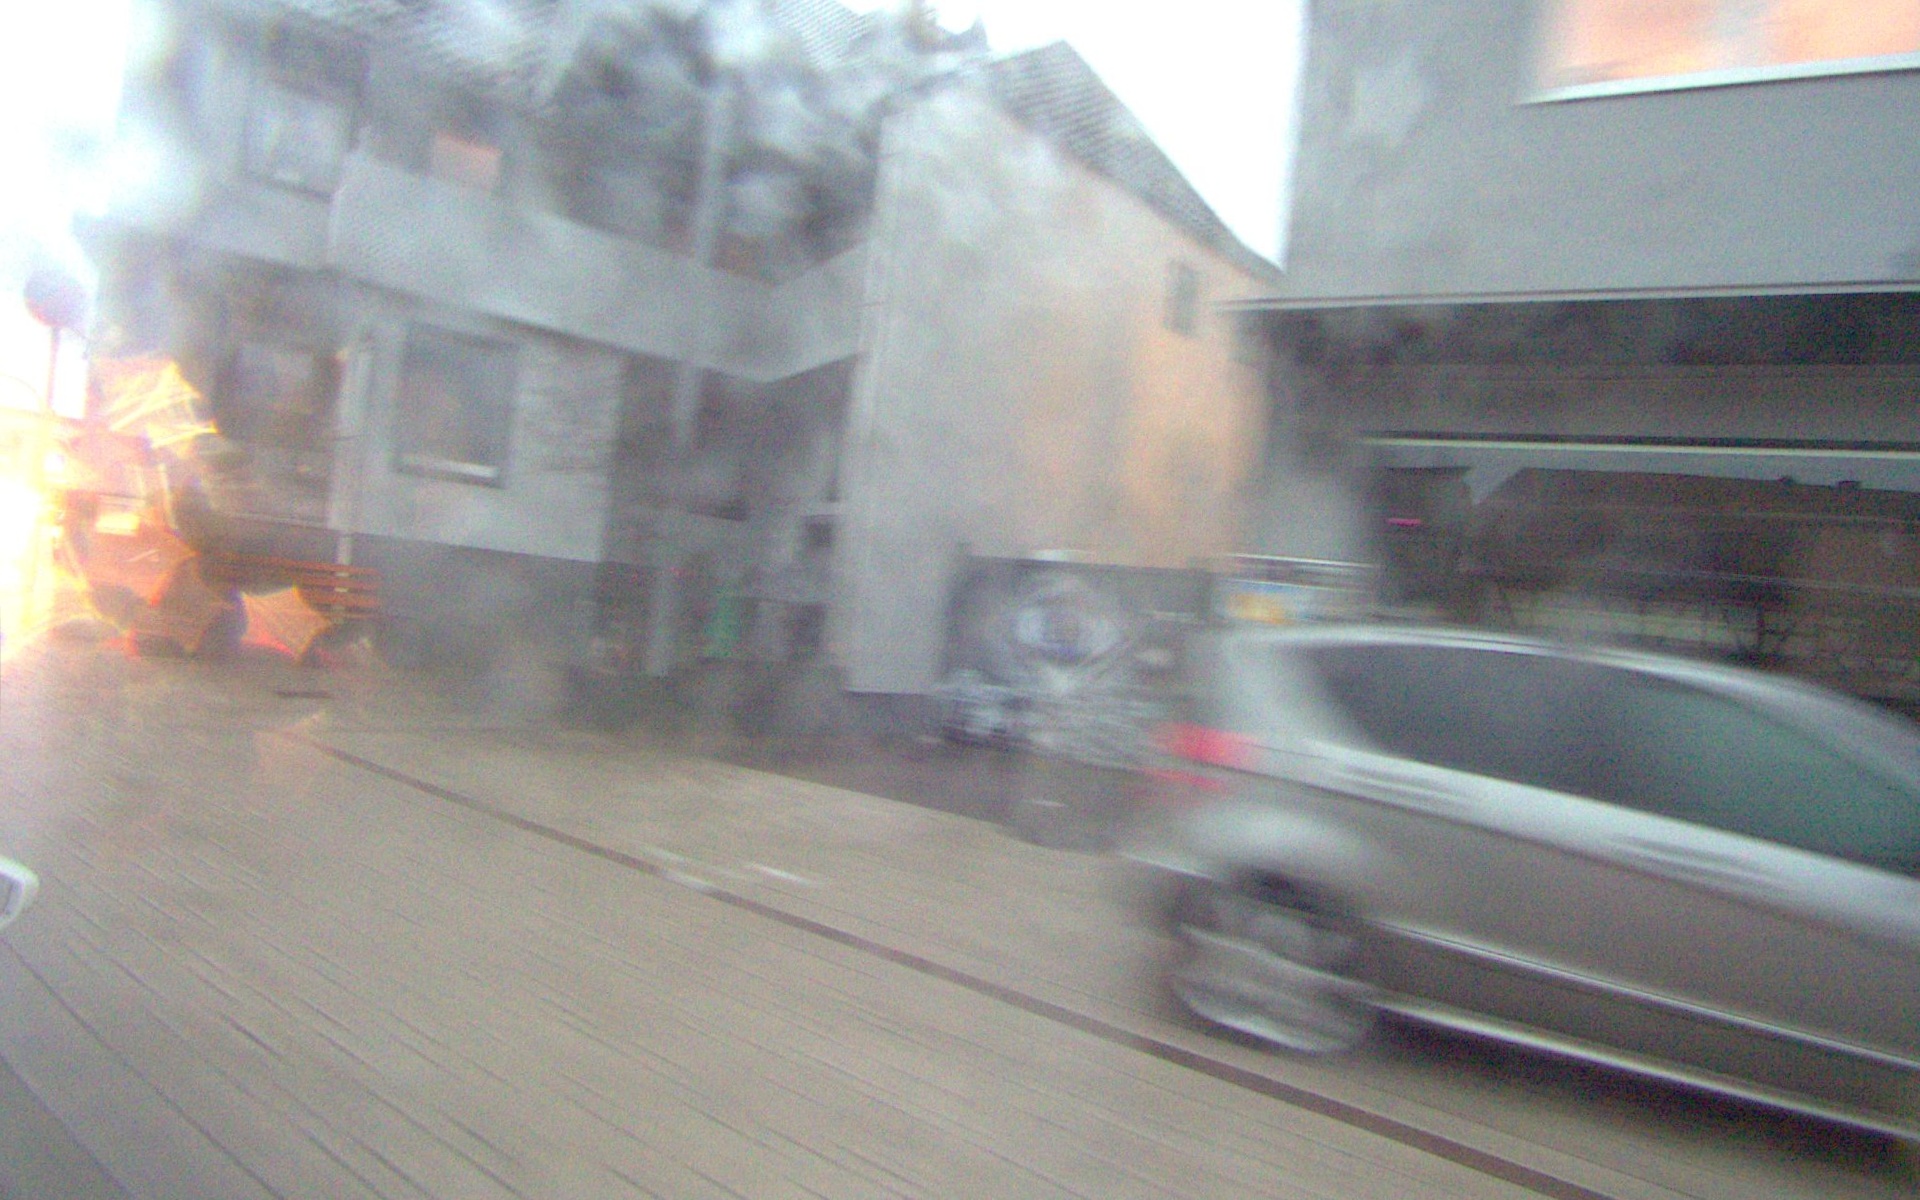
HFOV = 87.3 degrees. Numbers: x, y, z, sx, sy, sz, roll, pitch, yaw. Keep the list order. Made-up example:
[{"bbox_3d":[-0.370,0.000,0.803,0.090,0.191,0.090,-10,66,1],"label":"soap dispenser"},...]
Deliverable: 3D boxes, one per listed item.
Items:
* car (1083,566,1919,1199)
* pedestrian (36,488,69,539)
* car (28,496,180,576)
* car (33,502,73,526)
[{"bbox_3d":[2.512,0.904,3.898,3.595,1.581,1.739,7,1,20],"label":"car"},{"bbox_3d":[-36.282,-3.463,40.217,0.659,1.910,0.817,8,-1,-34],"label":"pedestrian"},{"bbox_3d":[-19.804,-1.481,23.490,1.869,1.485,4.506,6,0,-31],"label":"car"},{"bbox_3d":[-53.928,-5.144,59.853,1.525,1.263,3.607,1,4,-39],"label":"car"}]
